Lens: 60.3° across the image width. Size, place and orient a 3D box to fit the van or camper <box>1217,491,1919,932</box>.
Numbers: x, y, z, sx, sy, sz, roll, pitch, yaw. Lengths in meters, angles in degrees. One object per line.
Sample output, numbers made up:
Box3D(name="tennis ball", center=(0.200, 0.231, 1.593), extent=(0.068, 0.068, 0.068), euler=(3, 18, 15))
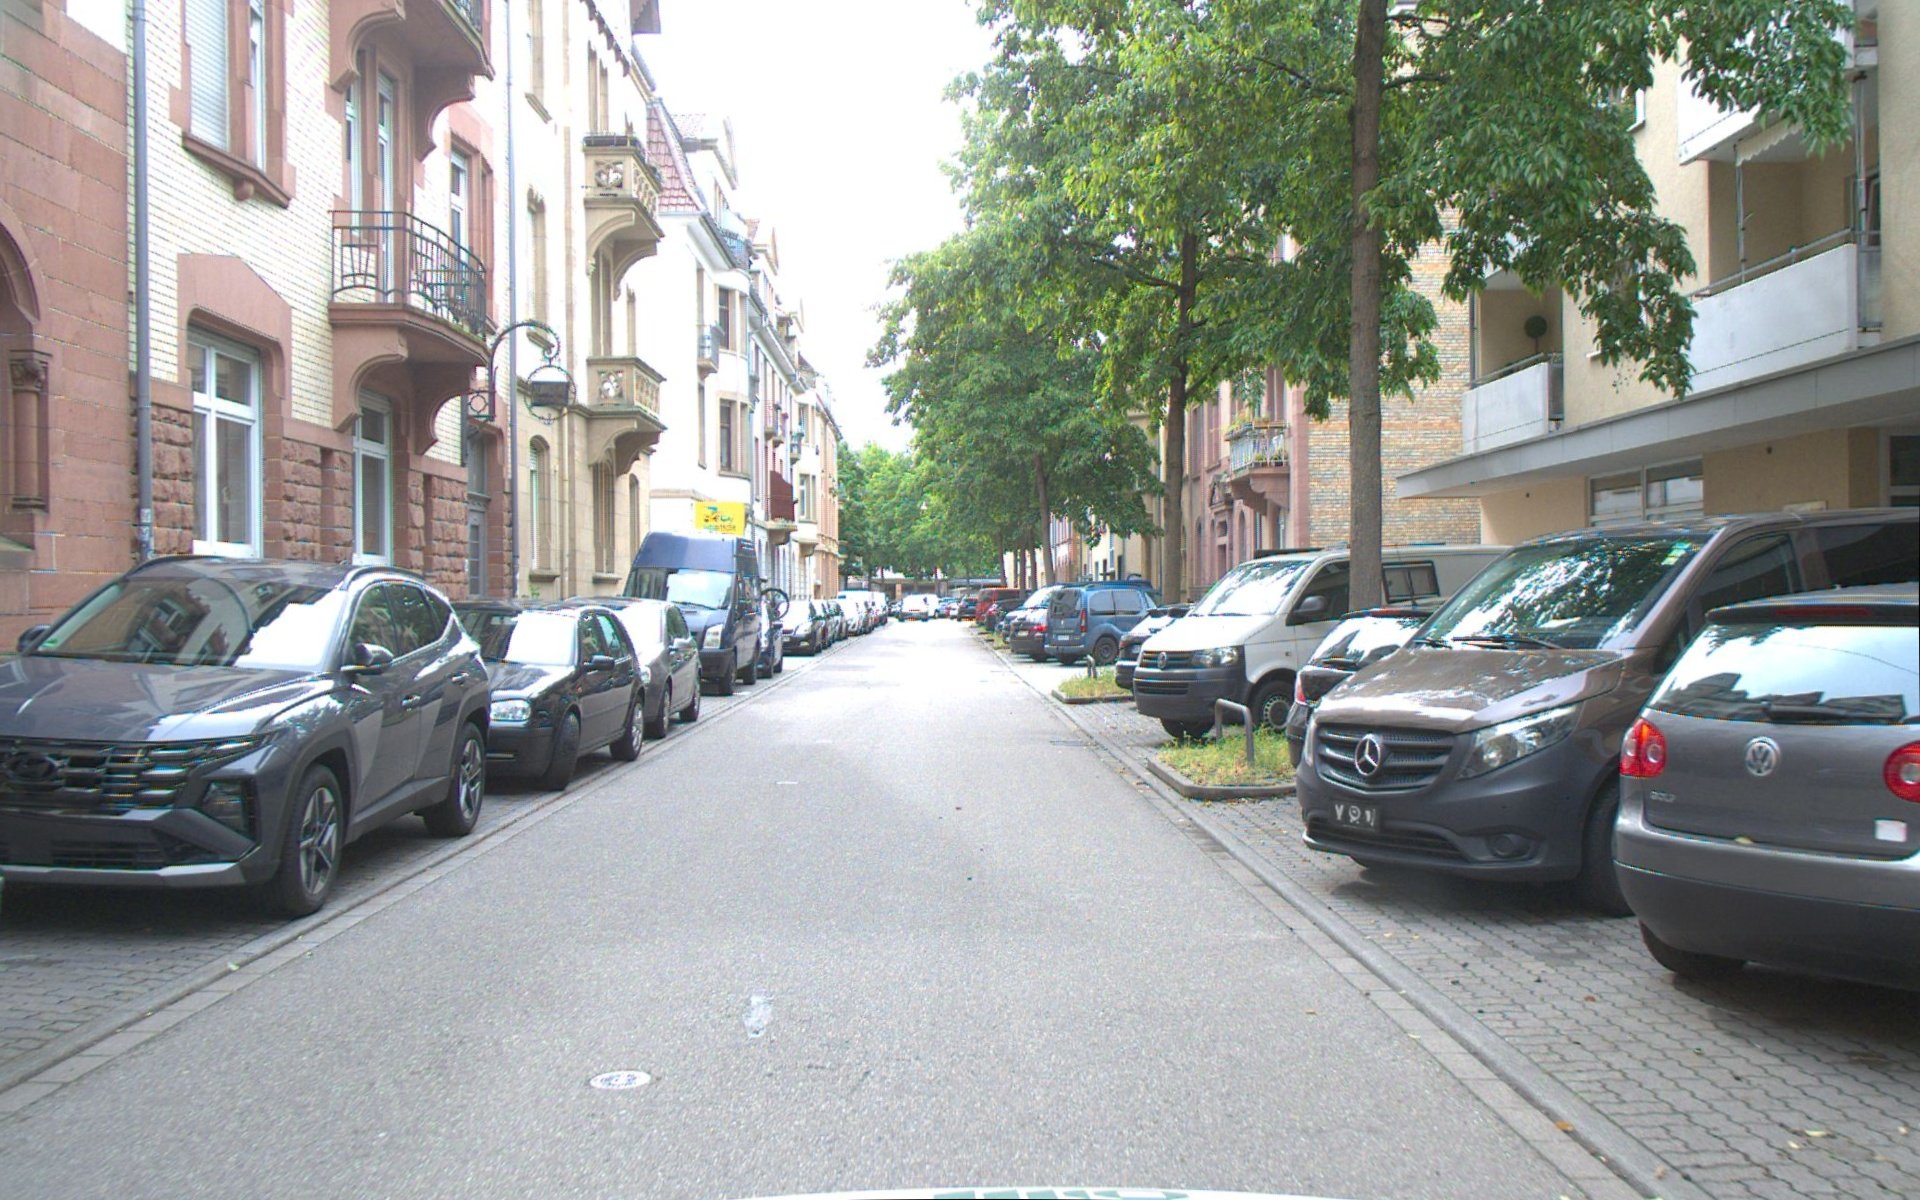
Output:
Box3D(name="van or camper", center=(4.083, 0.422, 9.279), extent=(4.951, 1.902, 2.107), euler=(-2, 0, -29))

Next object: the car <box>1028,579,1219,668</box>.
Box3D(name="car", center=(3.916, 0.549, 39.410), extent=(4.130, 1.902, 1.979), euler=(-2, -1, -31))

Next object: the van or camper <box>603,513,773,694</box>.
Box3D(name="van or camper", center=(-4.463, 0.056, 27.975), extent=(1.967, 2.698, 5.315), euler=(2, 0, -1))

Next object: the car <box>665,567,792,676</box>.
Box3D(name="car", center=(-4.608, 0.398, 33.654), extent=(1.953, 2.049, 4.890), euler=(0, 0, -1))

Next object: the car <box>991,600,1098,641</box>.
Box3D(name="car", center=(2.993, 0.730, 59.054), extent=(3.638, 1.433, 1.573), euler=(0, 0, -7))

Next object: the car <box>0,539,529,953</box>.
Box3D(name="car", center=(-3.751, 0.585, 8.931), extent=(1.750, 1.675, 4.360), euler=(1, 0, -1))

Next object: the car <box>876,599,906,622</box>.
Box3D(name="car", center=(-4.248, 0.659, 102.225), extent=(1.749, 1.398, 3.887), euler=(0, 0, -1))

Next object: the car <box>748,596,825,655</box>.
Box3D(name="car", center=(-4.682, 0.666, 45.023), extent=(1.753, 1.506, 4.021), euler=(1, 0, -2))

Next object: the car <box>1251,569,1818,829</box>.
Box3D(name="car", center=(4.221, 0.604, 12.003), extent=(3.958, 1.470, 1.821), euler=(-3, 0, -33))

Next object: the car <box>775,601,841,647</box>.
Box3D(name="car", center=(-5.098, 0.777, 56.067), extent=(1.908, 1.427, 3.999), euler=(2, 0, -2))

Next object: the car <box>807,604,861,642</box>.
Box3D(name="car", center=(-5.179, 0.937, 68.505), extent=(1.953, 1.501, 3.999), euler=(0, 0, -1))

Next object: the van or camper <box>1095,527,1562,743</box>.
Box3D(name="van or camper", center=(4.005, 0.337, 17.892), extent=(4.673, 2.029, 1.983), euler=(-2, -2, -27))

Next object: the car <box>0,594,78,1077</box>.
Box3D(name="car", center=(-3.650, 0.698, 3.376), extent=(1.629, 1.445, 3.928), euler=(1, 0, -1))

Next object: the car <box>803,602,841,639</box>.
Box3D(name="car", center=(-5.034, 0.732, 60.617), extent=(1.185, 1.332, 3.259), euler=(0, 0, -2))

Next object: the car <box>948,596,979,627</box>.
Box3D(name="car", center=(0.215, 0.772, 112.617), extent=(1.953, 2.049, 3.999), euler=(2, 0, -2))

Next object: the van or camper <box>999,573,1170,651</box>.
Box3D(name="van or camper", center=(3.667, 0.349, 48.395), extent=(4.729, 2.175, 2.033), euler=(0, 0, -32))

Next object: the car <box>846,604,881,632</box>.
Box3D(name="car", center=(-5.648, 1.060, 97.194), extent=(1.750, 1.480, 3.887), euler=(-4, 0, -1))

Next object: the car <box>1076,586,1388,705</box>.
Box3D(name="car", center=(3.954, 0.617, 23.867), extent=(4.261, 1.417, 1.902), euler=(-3, 0, -33))

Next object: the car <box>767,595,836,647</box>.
Box3D(name="car", center=(-4.860, 0.624, 51.040), extent=(1.792, 1.451, 3.800), euler=(2, 0, -2))

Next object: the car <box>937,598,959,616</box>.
Box3D(name="car", center=(-1.036, 0.591, 140.005), extent=(1.832, 1.557, 3.999), euler=(0, 0, -2))

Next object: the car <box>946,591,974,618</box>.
Box3D(name="car", center=(-0.050, 0.349, 121.901), extent=(1.953, 1.825, 3.998), euler=(1, -1, -1))

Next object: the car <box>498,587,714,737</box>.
Box3D(name="car", center=(-3.910, 0.677, 18.904), extent=(1.634, 1.499, 3.999), euler=(1, -1, -1))

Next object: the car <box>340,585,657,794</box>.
Box3D(name="car", center=(-3.738, 0.656, 14.101), extent=(1.601, 1.499, 3.999), euler=(1, 0, -1))

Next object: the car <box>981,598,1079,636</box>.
Box3D(name="car", center=(2.763, 0.664, 66.008), extent=(3.689, 1.490, 1.727), euler=(0, 0, -7))

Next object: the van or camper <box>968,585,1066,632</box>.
Box3D(name="van or camper", center=(2.608, 0.378, 75.782), extent=(4.101, 2.122, 1.934), euler=(0, 0, -29))

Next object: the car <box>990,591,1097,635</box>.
Box3D(name="car", center=(3.077, 0.479, 61.343), extent=(3.689, 1.490, 1.727), euler=(-2, 0, -7))

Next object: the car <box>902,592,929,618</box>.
Box3D(name="car", center=(-3.028, 0.355, 112.204), extent=(1.784, 1.674, 3.752), euler=(1, -1, -2))

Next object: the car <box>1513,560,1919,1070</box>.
Box3D(name="car", center=(4.203, 0.612, 6.435), extent=(3.812, 1.528, 1.892), euler=(-2, 0, -32))

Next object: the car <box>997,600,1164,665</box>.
Box3D(name="car", center=(3.091, 0.798, 42.220), extent=(3.972, 1.587, 1.864), euler=(0, 0, -32))
